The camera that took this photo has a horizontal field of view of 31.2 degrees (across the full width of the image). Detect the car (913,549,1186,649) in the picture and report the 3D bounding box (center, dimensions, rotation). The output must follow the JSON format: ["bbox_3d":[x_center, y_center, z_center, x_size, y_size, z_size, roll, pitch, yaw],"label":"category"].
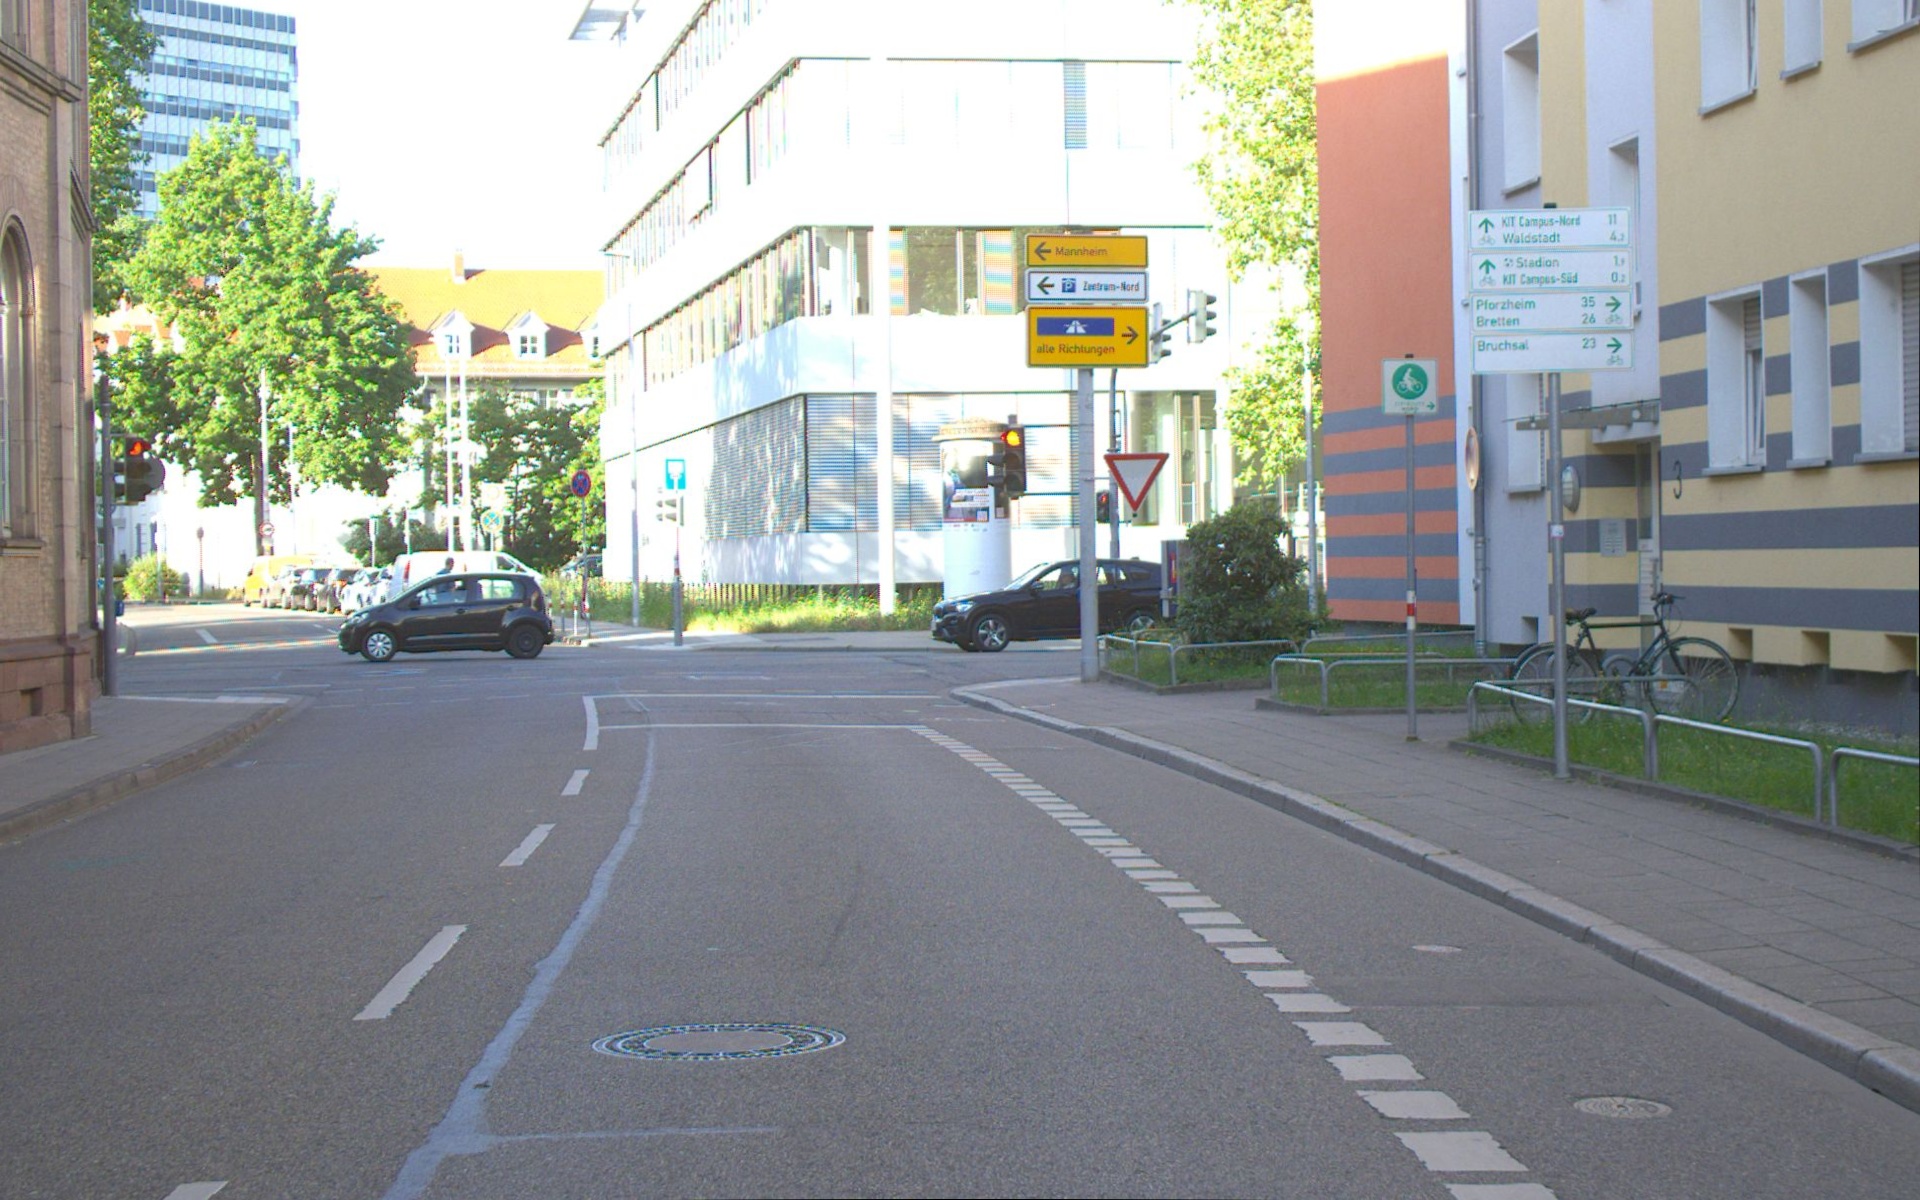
[{"bbox_3d":[1.537,-0.032,59.798,4.364,1.627,2.001,-1,1,-12],"label":"car"}]

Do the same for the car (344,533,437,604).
[{"bbox_3d":[-17.509,-0.947,105.579,2.329,2.105,5.007,1,0,-15],"label":"car"}]

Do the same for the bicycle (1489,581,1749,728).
[{"bbox_3d":[4.872,0.395,25.460,1.753,1.000,0.613,-2,0,-5],"label":"bicycle"}]

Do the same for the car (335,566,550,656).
[{"bbox_3d":[-8.702,0.172,57.722,3.428,1.441,1.775,-1,0,-13],"label":"car"}]

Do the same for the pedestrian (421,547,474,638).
[{"bbox_3d":[-9.967,-0.149,66.876,0.926,1.753,0.848,1,0,-14],"label":"pedestrian"}]

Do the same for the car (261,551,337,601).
[{"bbox_3d":[-23.935,-0.861,124.320,2.329,1.727,5.007,1,0,-15],"label":"car"}]

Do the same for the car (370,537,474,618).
[{"bbox_3d":[-14.727,-0.607,93.902,2.423,2.105,5.233,1,0,-13],"label":"car"}]

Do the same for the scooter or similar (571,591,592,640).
[{"bbox_3d":[-8.340,0.329,75.699,0.325,1.056,1.143,-1,1,-12],"label":"scooter or similar"}]

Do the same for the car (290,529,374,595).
[{"bbox_3d":[-20.968,-1.242,114.587,2.329,2.105,5.007,1,0,-15],"label":"car"}]

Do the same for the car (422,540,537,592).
[{"bbox_3d":[-18.420,-1.297,131.748,3.986,1.909,1.920,1,0,-23],"label":"car"}]
